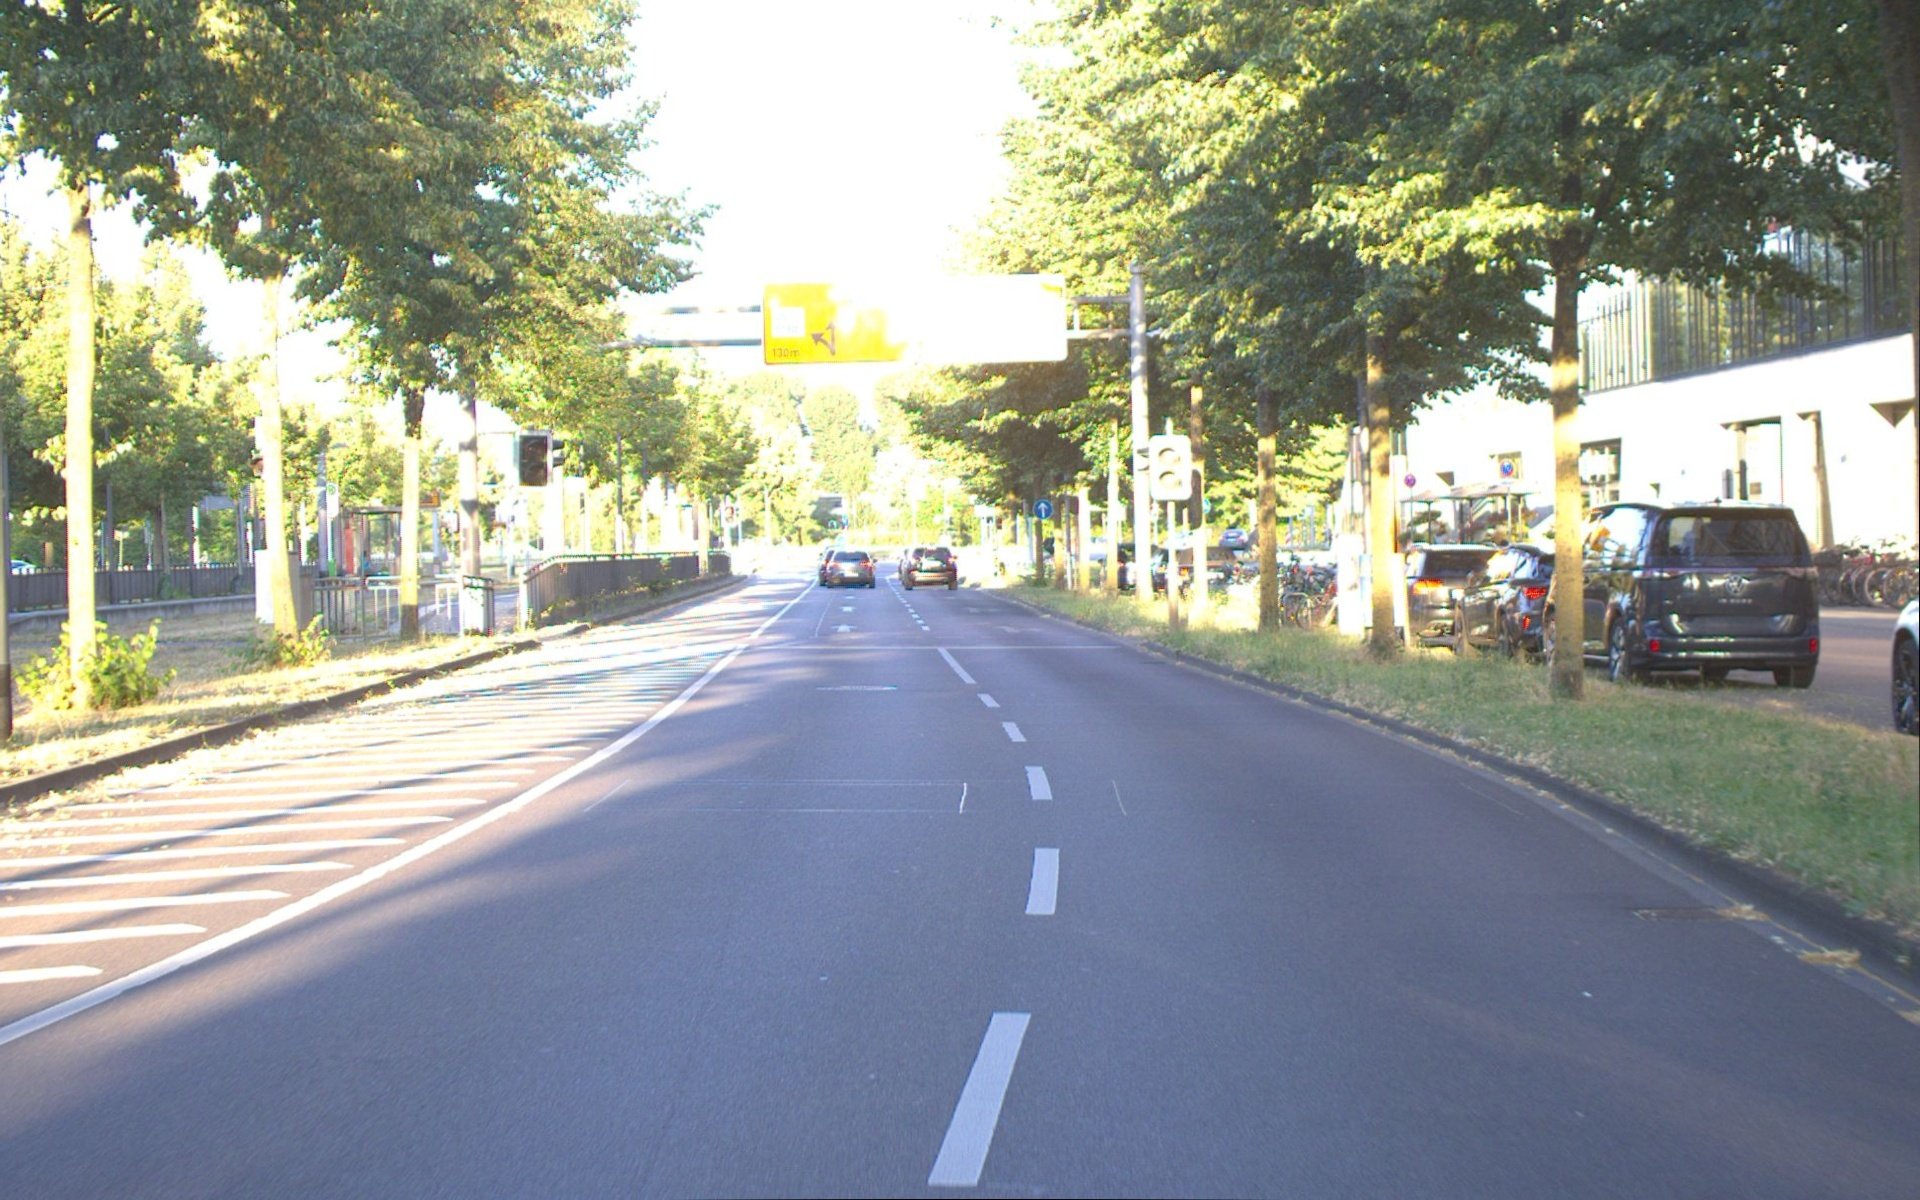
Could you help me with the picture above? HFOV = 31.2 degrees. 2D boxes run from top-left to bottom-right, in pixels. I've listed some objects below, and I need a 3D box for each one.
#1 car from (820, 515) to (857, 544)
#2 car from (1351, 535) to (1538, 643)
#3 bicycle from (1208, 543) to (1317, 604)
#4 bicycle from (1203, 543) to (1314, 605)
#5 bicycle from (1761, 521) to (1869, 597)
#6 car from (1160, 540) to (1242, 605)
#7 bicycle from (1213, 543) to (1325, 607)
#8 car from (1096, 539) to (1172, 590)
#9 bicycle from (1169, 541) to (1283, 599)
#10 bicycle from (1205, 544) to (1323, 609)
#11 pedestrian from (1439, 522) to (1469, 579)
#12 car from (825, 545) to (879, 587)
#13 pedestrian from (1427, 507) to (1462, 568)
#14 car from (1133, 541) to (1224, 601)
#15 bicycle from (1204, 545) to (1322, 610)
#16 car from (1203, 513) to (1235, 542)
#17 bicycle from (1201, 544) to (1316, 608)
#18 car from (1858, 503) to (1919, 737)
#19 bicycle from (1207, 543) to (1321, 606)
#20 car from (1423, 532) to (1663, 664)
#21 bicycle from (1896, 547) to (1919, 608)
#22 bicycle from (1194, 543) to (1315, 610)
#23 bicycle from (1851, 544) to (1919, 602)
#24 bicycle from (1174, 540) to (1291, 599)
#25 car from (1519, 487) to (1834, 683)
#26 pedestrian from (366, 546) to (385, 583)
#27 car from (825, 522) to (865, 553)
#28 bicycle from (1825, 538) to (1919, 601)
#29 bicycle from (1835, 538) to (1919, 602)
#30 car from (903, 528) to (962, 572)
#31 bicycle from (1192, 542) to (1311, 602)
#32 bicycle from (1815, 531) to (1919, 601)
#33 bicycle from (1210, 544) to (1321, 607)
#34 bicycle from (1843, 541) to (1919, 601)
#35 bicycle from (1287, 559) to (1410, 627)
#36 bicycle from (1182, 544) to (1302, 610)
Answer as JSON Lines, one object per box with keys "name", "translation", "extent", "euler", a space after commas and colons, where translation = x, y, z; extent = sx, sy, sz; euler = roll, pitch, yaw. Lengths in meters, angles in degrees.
{"name": "car", "translation": [-6.482, -3.748, 183.326], "extent": [1.911, 1.481, 4.001], "euler": [-1, 1, -2]}
{"name": "car", "translation": [6.723, -0.186, 48.137], "extent": [1.869, 1.406, 4.646], "euler": [-1, 1, -1]}
{"name": "bicycle", "translation": [5.659, -0.491, 64.353], "extent": [1.941, 1.050, 0.404], "euler": [2, 1, -4]}
{"name": "bicycle", "translation": [5.442, -0.469, 62.729], "extent": [1.941, 1.050, 0.414], "euler": [2, 1, -9]}
{"name": "bicycle", "translation": [15.655, -0.750, 62.978], "extent": [1.830, 1.352, 0.503], "euler": [-1, 1, -4]}
{"name": "car", "translation": [5.662, -0.668, 81.046], "extent": [1.575, 1.467, 3.882], "euler": [-1, 1, -1]}
{"name": "bicycle", "translation": [5.556, -0.449, 61.877], "extent": [1.941, 1.050, 0.314], "euler": [2, 1, -9]}
{"name": "car", "translation": [5.188, -1.076, 103.122], "extent": [1.756, 1.461, 4.159], "euler": [-1, 1, -4]}
{"name": "bicycle", "translation": [5.220, -0.594, 67.499], "extent": [2.142, 1.050, 0.525], "euler": [2, 1, -8]}
{"name": "bicycle", "translation": [5.344, -0.410, 60.472], "extent": [1.941, 1.050, 0.545], "euler": [2, 1, -9]}
{"name": "pedestrian", "translation": [14.890, -1.482, 103.621], "extent": [0.634, 1.712, 0.699], "euler": [-1, 1, -21]}
{"name": "car", "translation": [-3.947, -1.247, 125.369], "extent": [1.911, 1.481, 4.001], "euler": [-1, 1, -2]}
{"name": "pedestrian", "translation": [13.941, -1.799, 98.991], "extent": [0.703, 1.731, 0.689], "euler": [-1, 1, -32]}
{"name": "car", "translation": [5.578, -0.758, 88.037], "extent": [1.777, 1.467, 4.289], "euler": [-1, 1, -4]}
{"name": "bicycle", "translation": [5.268, -0.391, 59.786], "extent": [1.941, 1.050, 0.545], "euler": [2, 1, -12]}
{"name": "car", "translation": [16.405, -4.581, 217.595], "extent": [1.994, 1.722, 3.999], "euler": [-1, 1, 5]}
{"name": "bicycle", "translation": [5.299, -0.428, 61.002], "extent": [1.941, 1.050, 0.409], "euler": [2, 1, -9]}
{"name": "car", "translation": [7.732, 0.137, 23.158], "extent": [1.993, 1.637, 4.879], "euler": [-1, 1, -1]}
{"name": "bicycle", "translation": [5.427, -0.453, 61.458], "extent": [1.941, 1.050, 0.409], "euler": [2, 1, -9]}
{"name": "car", "translation": [6.958, -0.064, 41.512], "extent": [1.809, 1.466, 4.666], "euler": [-1, 1, -4]}
{"name": "bicycle", "translation": [16.114, -0.377, 56.080], "extent": [1.575, 0.984, 0.404], "euler": [-1, 1, -1]}
{"name": "bicycle", "translation": [4.999, -0.404, 58.341], "extent": [1.941, 1.050, 0.545], "euler": [2, 1, -16]}
{"name": "bicycle", "translation": [15.688, -0.454, 56.958], "extent": [1.743, 0.949, 0.404], "euler": [-1, 1, -1]}
{"name": "bicycle", "translation": [5.301, -0.587, 66.894], "extent": [2.142, 1.050, 0.571], "euler": [2, 1, -8]}
{"name": "car", "translation": [7.298, -0.183, 35.509], "extent": [1.993, 1.845, 4.666], "euler": [-1, 1, -4]}
{"name": "pedestrian", "translation": [-20.895, -1.277, 122.912], "extent": [0.614, 1.315, 0.745], "euler": [-1, 1, -5]}
{"name": "car", "translation": [-5.602, -3.035, 167.027], "extent": [1.911, 1.481, 4.001], "euler": [-1, 1, -2]}
{"name": "bicycle", "translation": [15.877, -0.526, 59.195], "extent": [1.830, 1.043, 0.446], "euler": [-1, 1, -1]}
{"name": "bicycle", "translation": [15.916, -0.517, 58.709], "extent": [1.830, 1.053, 0.404], "euler": [-1, 1, -1]}
{"name": "car", "translation": [-0.974, -1.728, 119.084], "extent": [1.911, 1.481, 4.001], "euler": [-1, 1, -2]}
{"name": "bicycle", "translation": [5.551, -0.536, 65.505], "extent": [2.142, 1.050, 0.571], "euler": [2, 1, -8]}
{"name": "bicycle", "translation": [15.824, -0.593, 59.706], "extent": [1.830, 1.173, 0.446], "euler": [-1, 1, -1]}
{"name": "bicycle", "translation": [5.532, -0.448, 62.231], "extent": [1.941, 1.050, 0.348], "euler": [2, 1, -9]}
{"name": "bicycle", "translation": [15.722, -0.488, 57.399], "extent": [1.830, 0.984, 0.404], "euler": [-1, 1, -1]}
{"name": "bicycle", "translation": [6.465, -0.118, 57.260], "extent": [1.941, 1.050, 0.545], "euler": [2, 1, -2]}
{"name": "bicycle", "translation": [4.830, -0.394, 58.942], "extent": [1.941, 1.050, 0.545], "euler": [2, 1, -16]}
